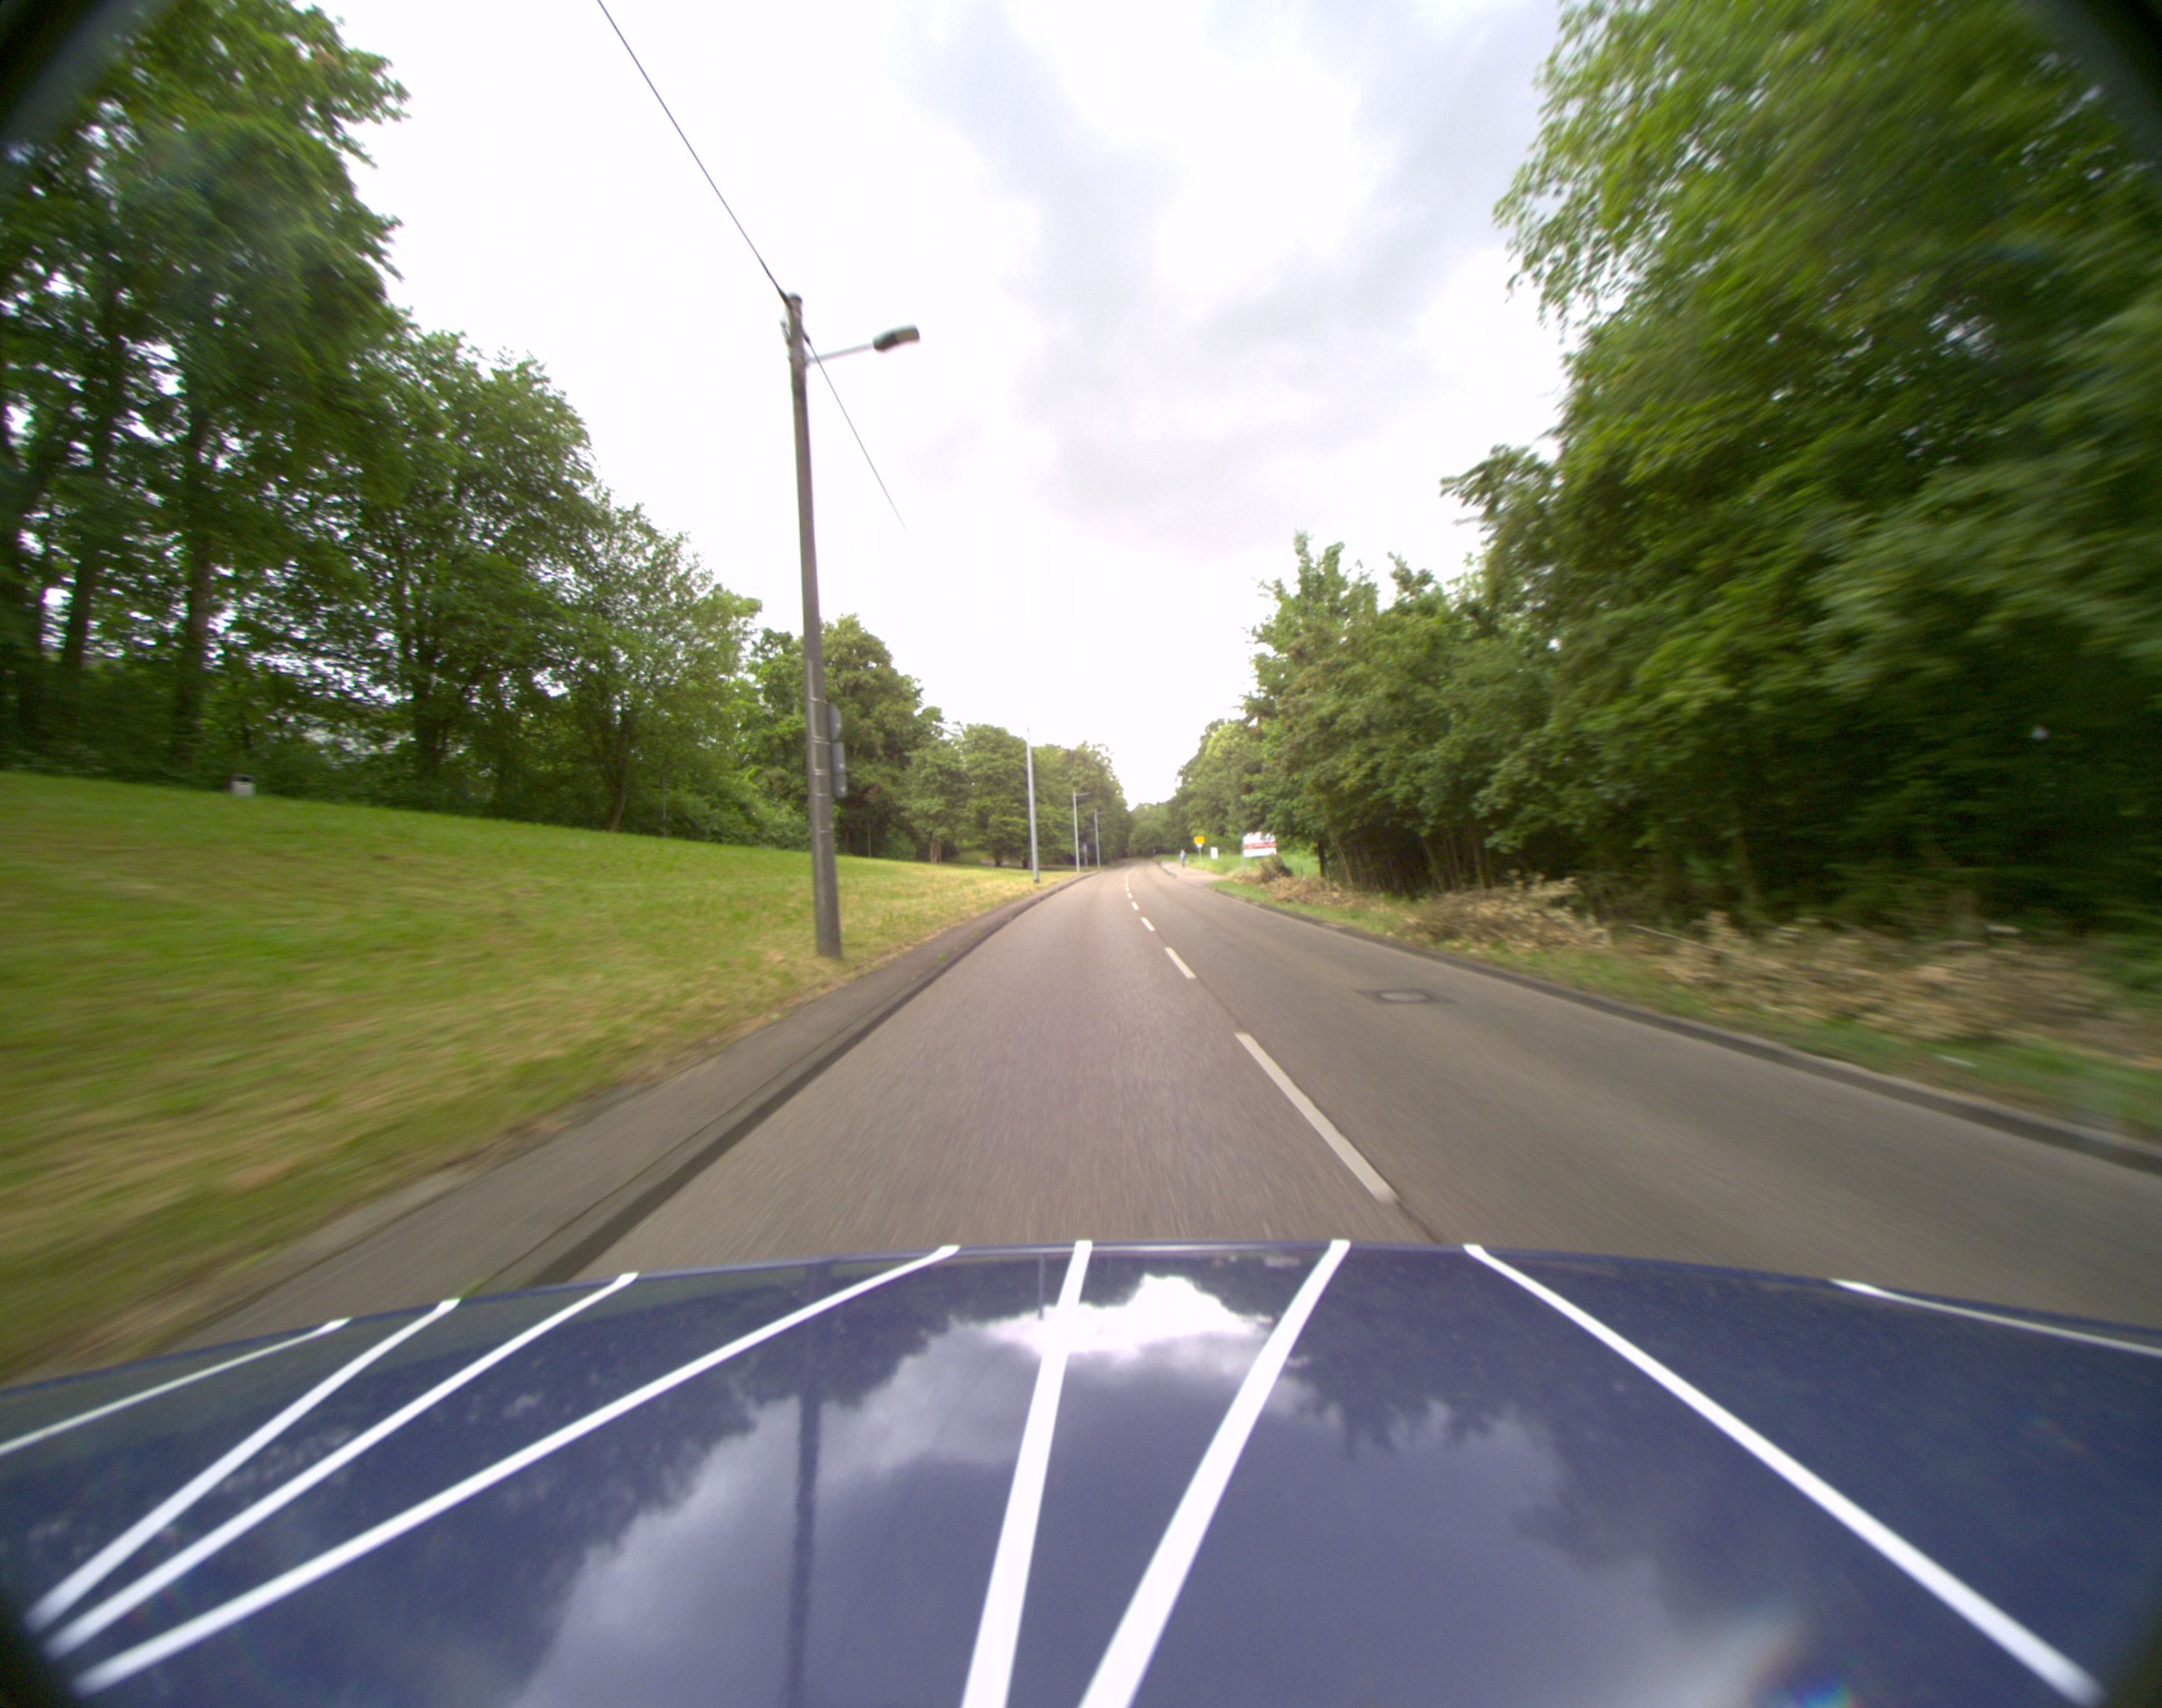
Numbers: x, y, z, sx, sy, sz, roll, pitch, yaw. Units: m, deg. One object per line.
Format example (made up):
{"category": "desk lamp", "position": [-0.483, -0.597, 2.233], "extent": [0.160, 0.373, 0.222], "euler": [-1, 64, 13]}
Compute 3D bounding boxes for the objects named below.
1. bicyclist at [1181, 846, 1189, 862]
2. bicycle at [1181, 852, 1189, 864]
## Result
{"category": "bicyclist", "position": [10.031, 0.004, 73.227], "extent": [0.667, 1.511, 1.271], "euler": [-3, 0, 7]}
{"category": "bicycle", "position": [10.049, 0.402, 73.231], "extent": [0.667, 1.068, 2.147], "euler": [-3, 0, 7]}
